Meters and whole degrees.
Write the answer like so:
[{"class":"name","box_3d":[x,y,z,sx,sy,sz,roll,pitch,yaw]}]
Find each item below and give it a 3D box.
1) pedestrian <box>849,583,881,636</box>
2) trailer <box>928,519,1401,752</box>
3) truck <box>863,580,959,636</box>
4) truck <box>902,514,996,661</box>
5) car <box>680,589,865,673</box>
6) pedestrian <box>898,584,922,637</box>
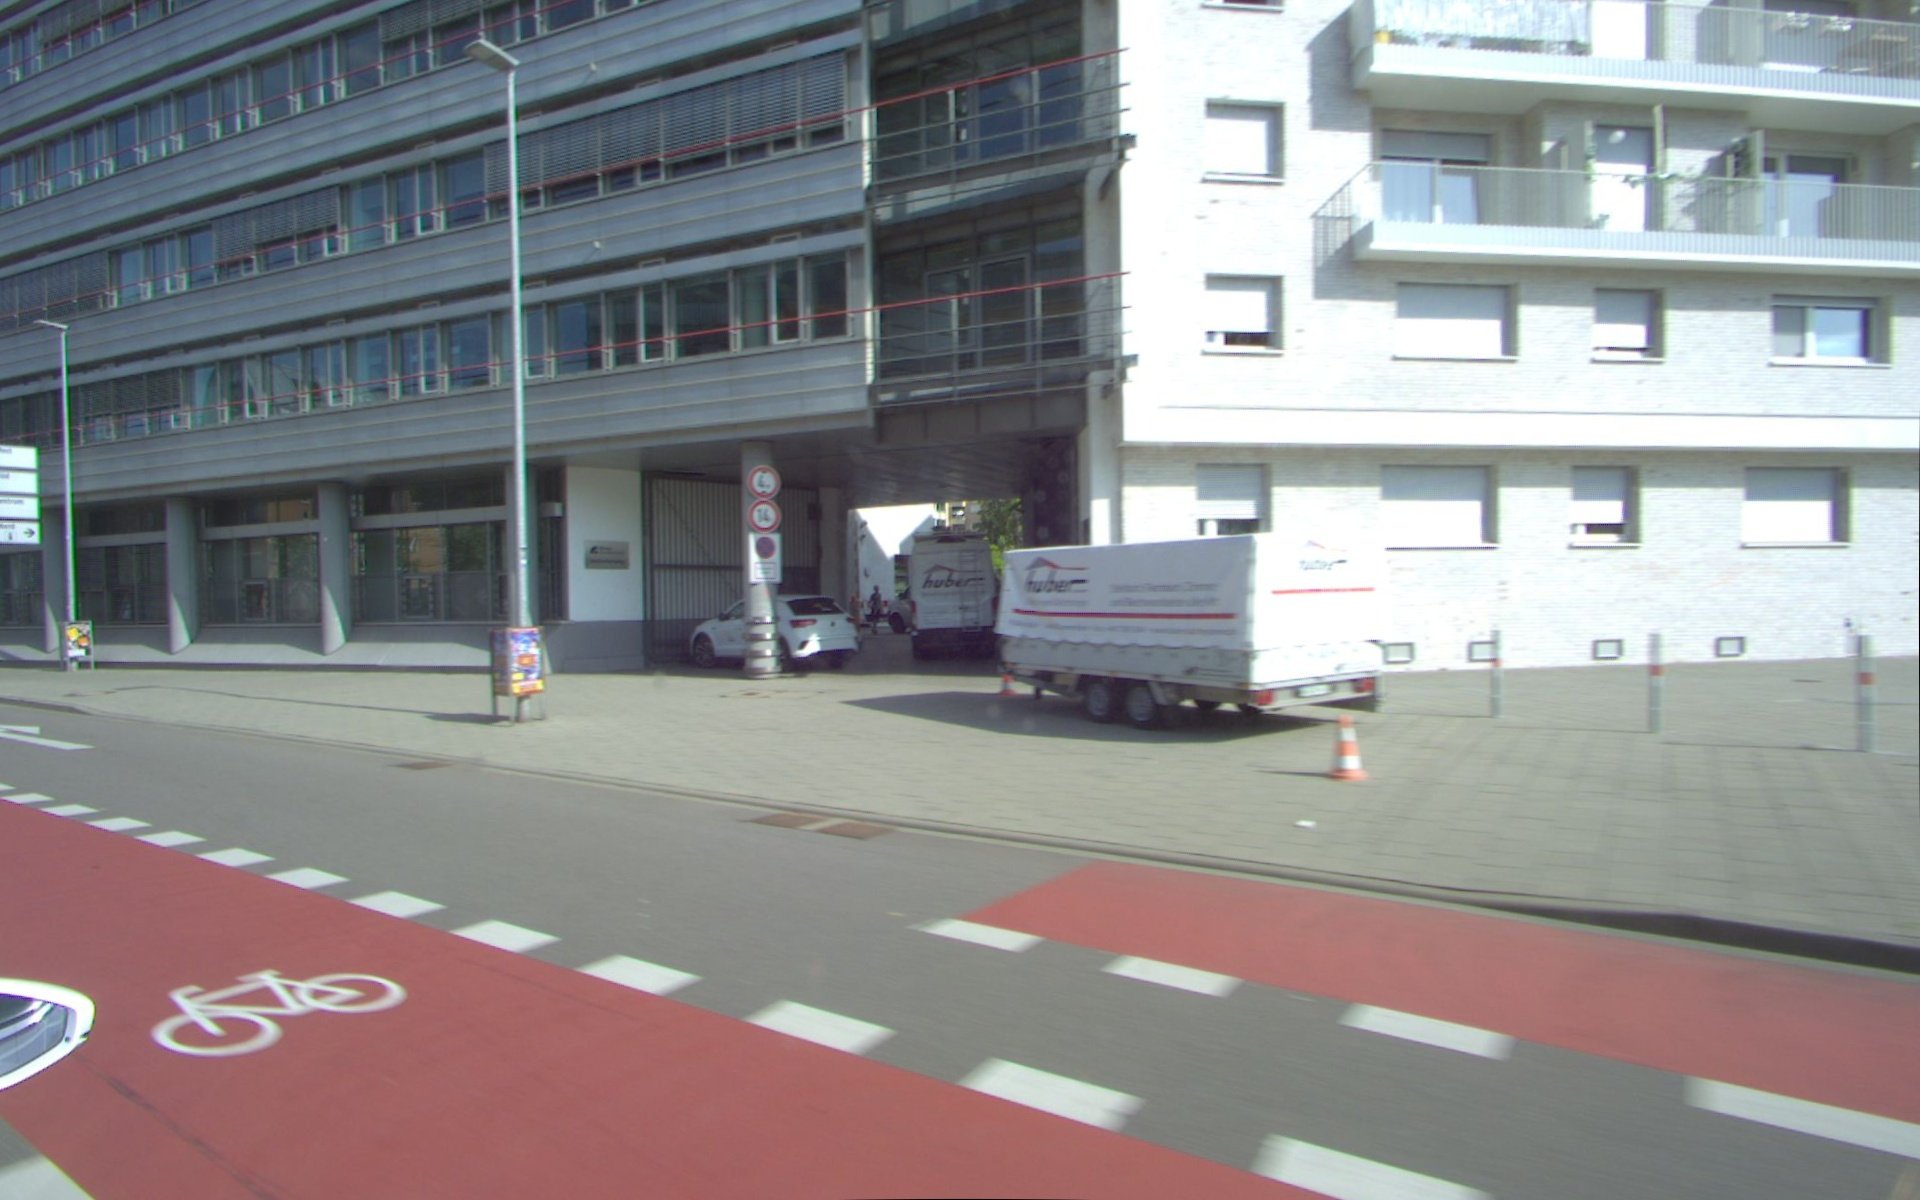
[{"class":"pedestrian","box_3d":[-3.354,0.335,35.418,0.878,1.832,0.923,0,1,11]},{"class":"trailer","box_3d":[2.126,0.347,12.522,2.364,2.180,5.912,-1,0,-33]},{"class":"truck","box_3d":[-1.794,0.275,36.030,1.735,1.925,3.319,-1,0,-43]},{"class":"truck","box_3d":[-0.315,-0.427,24.955,1.961,3.141,6.146,-2,3,-1]},{"class":"car","box_3d":[-4.001,0.570,21.080,3.952,1.611,1.736,1,1,40]},{"class":"pedestrian","box_3d":[-1.635,0.339,32.817,0.744,1.739,0.559,-1,1,2]}]
